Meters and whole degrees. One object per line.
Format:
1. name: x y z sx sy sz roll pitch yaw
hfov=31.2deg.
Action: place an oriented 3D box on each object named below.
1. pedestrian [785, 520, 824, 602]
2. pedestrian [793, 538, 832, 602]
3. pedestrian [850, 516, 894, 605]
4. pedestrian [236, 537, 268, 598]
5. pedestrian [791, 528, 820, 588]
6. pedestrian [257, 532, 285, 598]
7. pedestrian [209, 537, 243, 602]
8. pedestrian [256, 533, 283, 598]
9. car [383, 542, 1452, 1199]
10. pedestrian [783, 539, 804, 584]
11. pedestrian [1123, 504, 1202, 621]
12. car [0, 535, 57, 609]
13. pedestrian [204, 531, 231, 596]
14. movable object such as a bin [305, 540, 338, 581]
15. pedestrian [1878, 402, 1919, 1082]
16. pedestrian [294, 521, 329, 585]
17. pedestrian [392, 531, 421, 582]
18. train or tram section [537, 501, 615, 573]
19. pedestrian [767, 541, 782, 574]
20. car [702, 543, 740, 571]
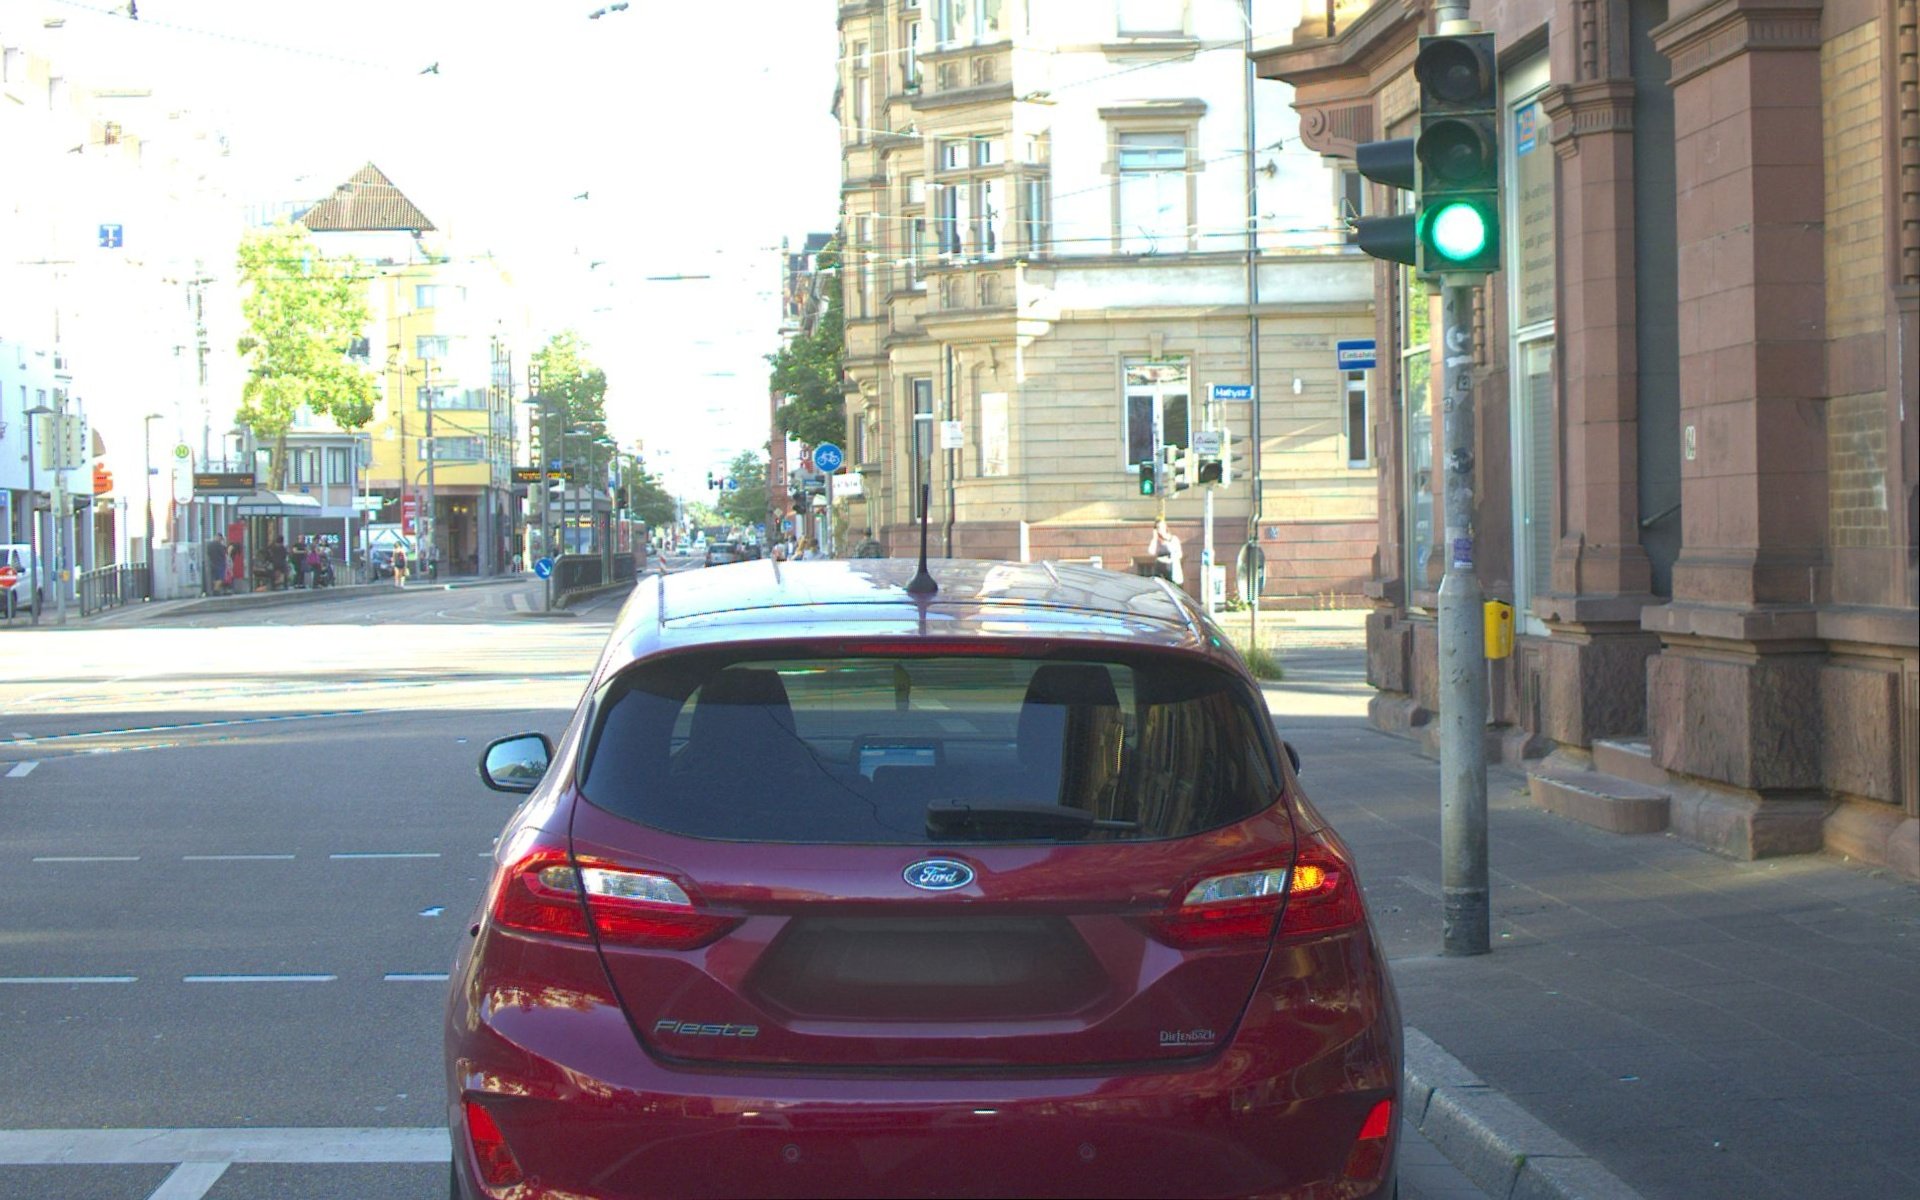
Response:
1. pedestrian: -3.327 -0.833 73.605 0.717 1.715 0.796 -2 0 2
2. pedestrian: -3.118 -0.629 72.655 0.717 1.327 0.797 -2 0 -5
3. pedestrian: -1.859 -0.842 72.397 0.800 1.817 0.798 -3 2 -4
4. pedestrian: -19.842 -0.913 96.292 0.695 1.685 0.672 -1 1 -27
5. pedestrian: -4.725 -1.278 104.991 0.713 1.768 0.773 -4 2 -6
6. pedestrian: -20.031 -1.008 99.969 0.695 1.898 0.672 -1 0 -6
7. pedestrian: -19.683 -0.819 92.177 0.765 1.727 0.519 0 1 38
8. pedestrian: -20.207 -1.016 100.651 0.695 1.898 0.672 -1 0 -6
9. car: -0.145 0.639 7.275 1.692 1.490 3.580 1 1 -2
10. pedestrian: -6.712 -1.564 138.603 0.713 1.768 0.773 -4 2 -6
11. pedestrian: 3.173 -0.595 53.994 1.023 1.800 1.083 -1 1 -7
12. car: -24.566 -0.720 87.671 1.993 1.831 5.347 -1 1 -4
13. pedestrian: -19.458 -0.951 90.091 0.598 1.686 0.613 -1 0 -3
14. movable object such as a bin: -20.180 -1.239 108.670 0.937 1.282 0.935 -1 1 -6
15. pedestrian: 2.800 0.352 8.494 0.775 1.717 0.754 -2 1 -3
16. pedestrian: -19.272 -1.401 102.139 0.931 1.898 0.881 -1 1 -6
17. pedestrian: -20.625 -1.619 128.171 0.878 1.898 0.935 -1 1 -19
18. train or tram section: -19.347 -3.164 174.013 2.885 3.478 14.169 0 1 -2
19. pedestrian: -9.382 -2.132 173.964 0.751 1.655 0.650 1 0 -1
20. car: -12.619 -2.282 181.537 1.993 1.444 4.001 0 1 -4
